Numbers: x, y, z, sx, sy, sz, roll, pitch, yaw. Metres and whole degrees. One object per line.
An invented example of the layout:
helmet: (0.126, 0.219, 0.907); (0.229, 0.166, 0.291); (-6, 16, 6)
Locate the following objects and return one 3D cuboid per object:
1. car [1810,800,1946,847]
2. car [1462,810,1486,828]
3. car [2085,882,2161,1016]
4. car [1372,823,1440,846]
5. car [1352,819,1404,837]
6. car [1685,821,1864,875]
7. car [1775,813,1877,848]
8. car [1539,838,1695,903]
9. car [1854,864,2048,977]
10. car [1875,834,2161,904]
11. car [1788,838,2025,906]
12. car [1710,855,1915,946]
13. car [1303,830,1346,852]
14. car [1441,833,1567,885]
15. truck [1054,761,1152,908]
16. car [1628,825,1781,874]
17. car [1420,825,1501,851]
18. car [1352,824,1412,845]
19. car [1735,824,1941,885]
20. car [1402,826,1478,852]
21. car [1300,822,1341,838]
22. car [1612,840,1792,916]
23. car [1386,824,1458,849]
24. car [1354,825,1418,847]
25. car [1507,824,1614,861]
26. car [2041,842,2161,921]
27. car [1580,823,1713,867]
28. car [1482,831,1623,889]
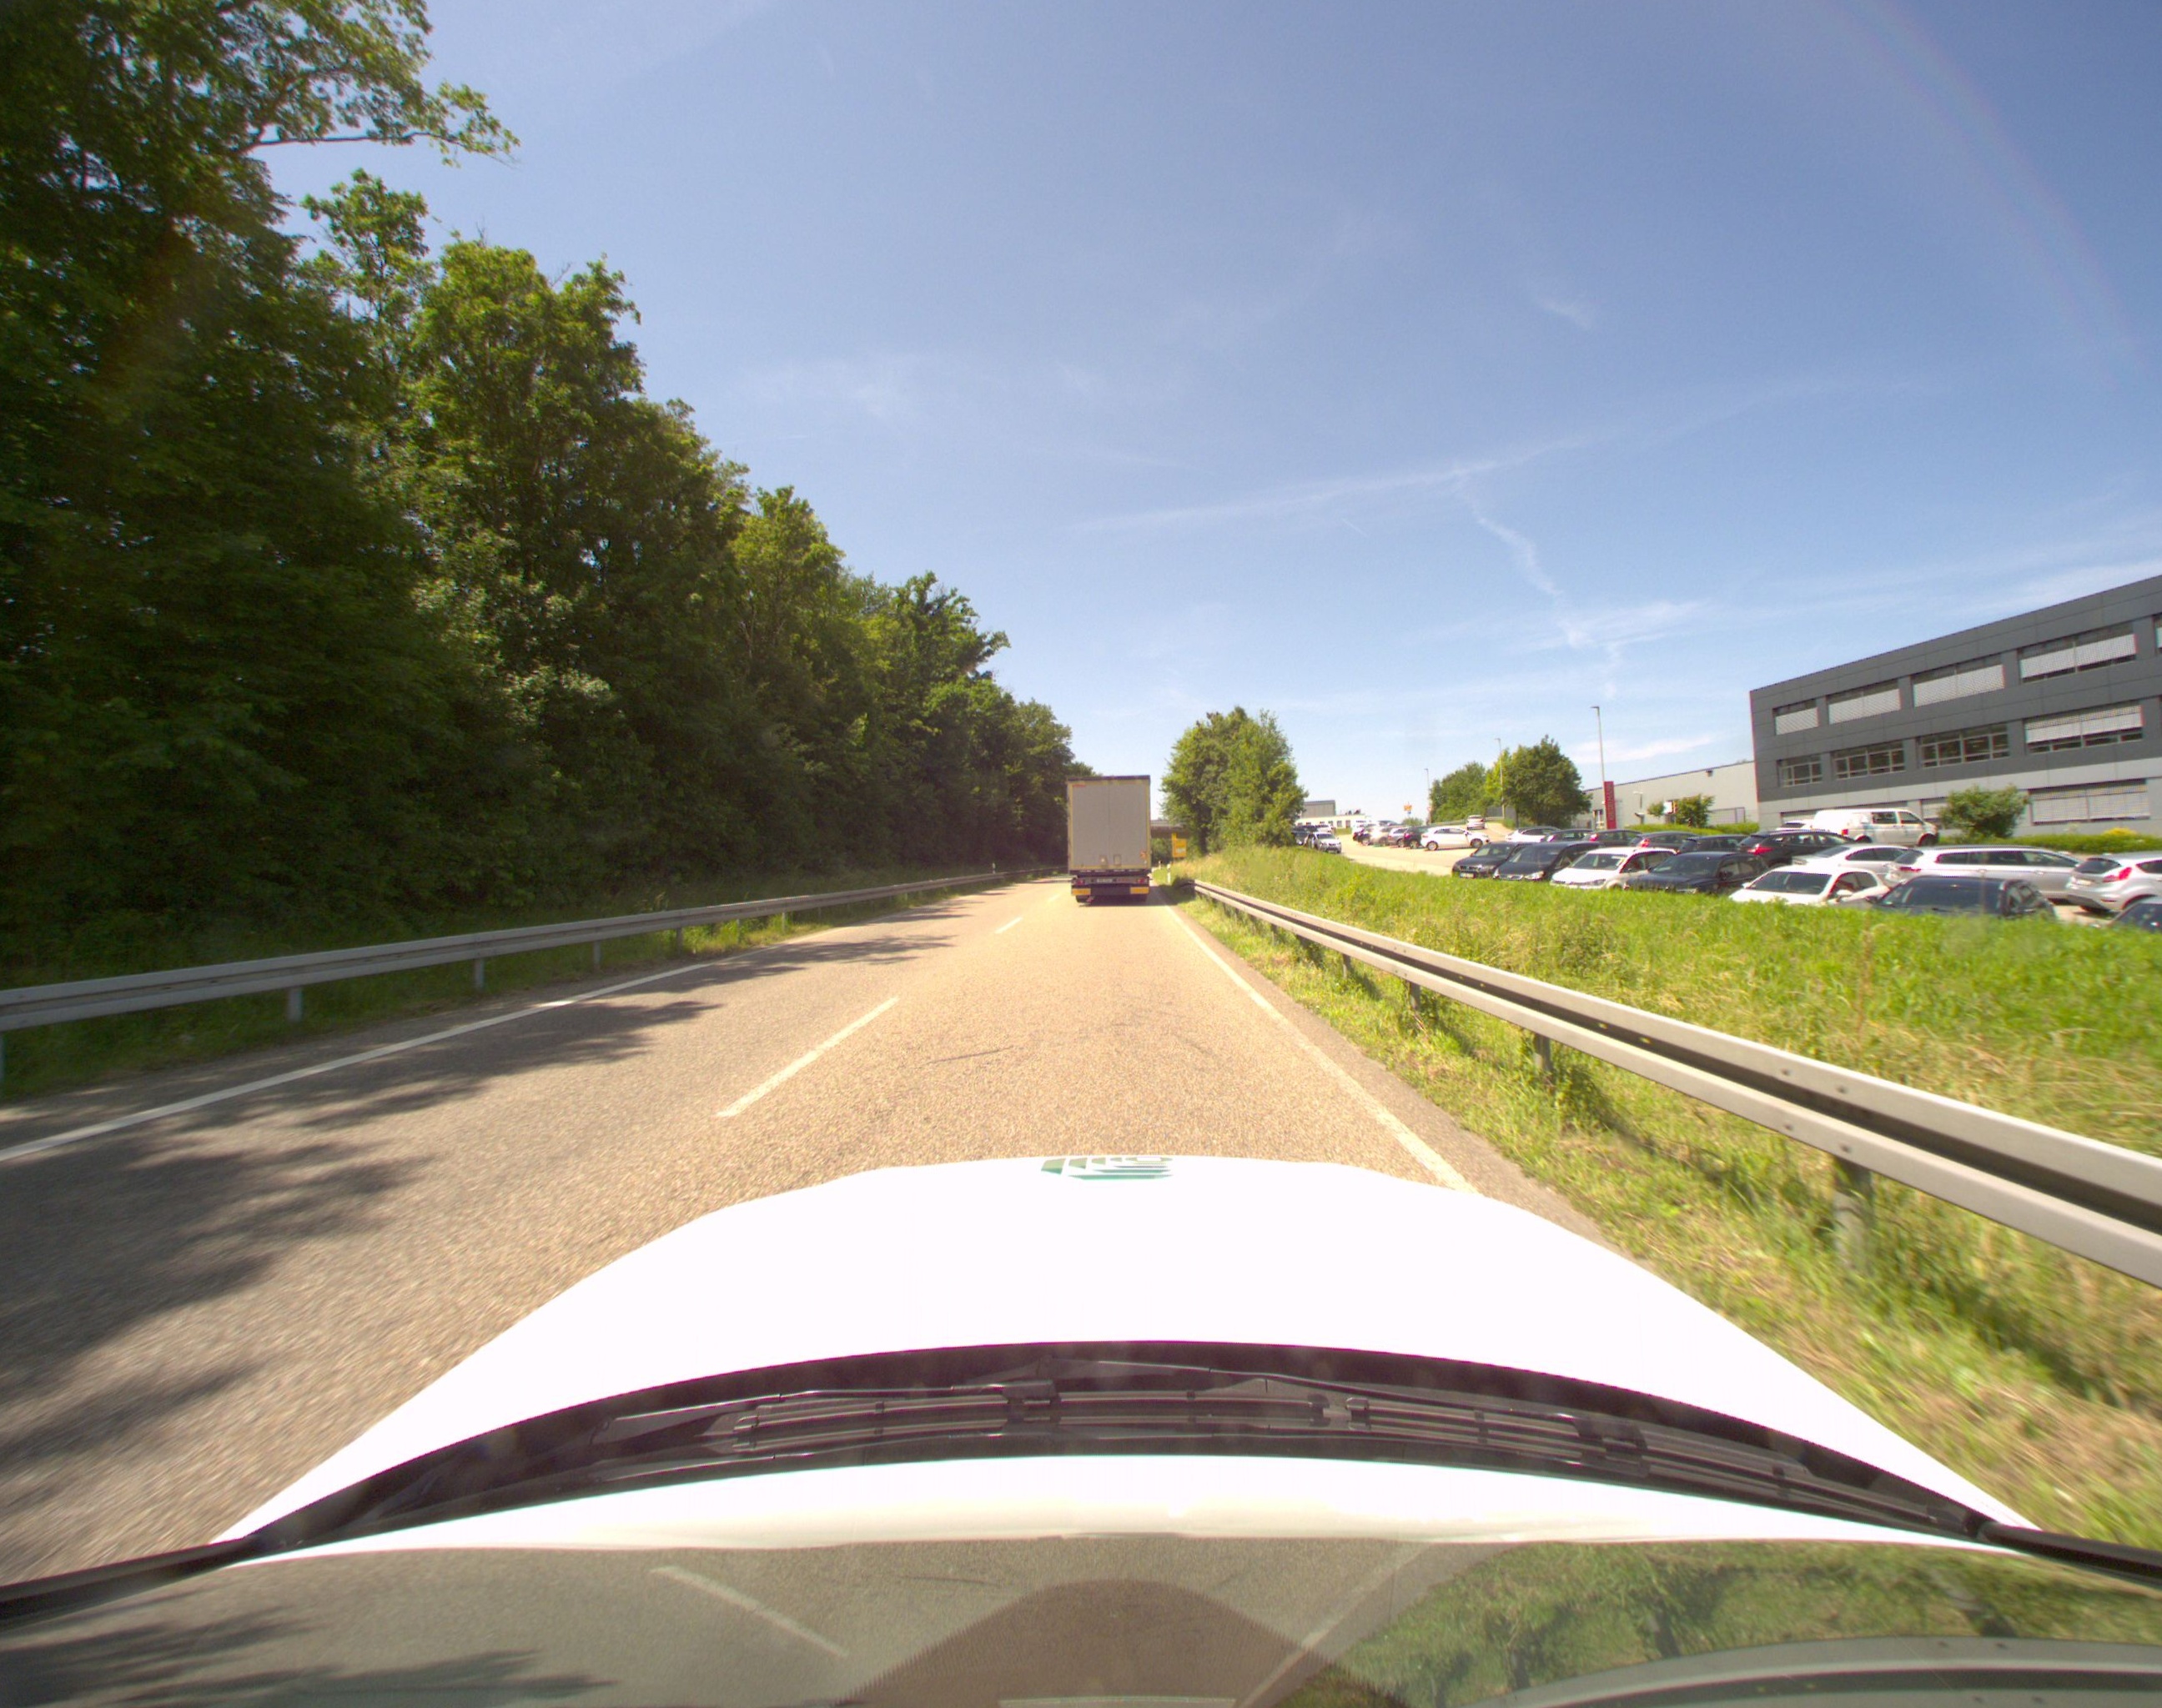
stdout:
car: (37.221, -1.418, 38.097); (4.555, 1.949, 1.821); (-2, 2, 1)
car: (39.301, -3.475, 81.418); (1.789, 1.662, 4.025); (0, 0, 32)
car: (16.094, 1.334, 11.670); (4.396, 1.685, 1.868); (1, 2, -36)
car: (23.981, -1.465, 60.172); (4.533, 1.628, 1.830); (1, 2, 21)
car: (29.235, -2.522, 80.259); (4.527, 1.629, 1.832); (0, 0, 35)
car: (24.766, -0.253, 29.318); (4.530, 1.628, 1.831); (4, 2, 27)
car: (37.717, -1.209, 41.282); (3.648, 1.588, 1.685); (-2, 2, 1)
car: (15.778, 0.490, 23.944); (4.387, 1.685, 1.872); (2, 2, -28)
car: (16.174, 1.108, 15.083); (4.396, 1.685, 1.868); (1, 2, -36)
car: (23.883, 0.356, 21.023); (4.527, 1.519, 1.833); (-1, 4, 31)
car: (24.215, 0.463, 24.161); (4.530, 1.628, 1.831); (4, 2, 27)
car: (16.022, 0.963, 17.809); (4.387, 1.685, 1.872); (2, 2, -28)
car: (16.615, -0.913, 55.685); (1.620, 1.353, 3.708); (3, 2, -3)
car: (15.415, 0.189, 29.653); (4.387, 1.685, 1.872); (2, 2, -28)
truck: (0.817, -0.587, 29.416); (2.855, 4.359, 9.792); (-2, 0, 2)
car: (24.683, -0.221, 32.478); (4.530, 1.628, 1.831); (4, 2, 27)
car: (23.827, -1.023, 51.350); (4.532, 1.628, 1.830); (1, 1, 21)
car: (24.537, -1.579, 66.459); (4.532, 1.629, 1.830); (0, 0, 21)
car: (24.443, -0.030, 26.543); (4.530, 1.628, 1.831); (4, 2, 27)
car: (23.802, -1.032, 54.120); (4.532, 1.628, 1.830); (1, 1, 21)
car: (27.418, -2.789, 93.249); (4.388, 1.685, 1.872); (-2, 4, -28)
car: (15.648, 0.590, 20.491); (4.387, 1.685, 1.872); (2, 2, -28)
car: (23.890, -1.216, 57.157); (4.532, 1.629, 1.830); (-1, 0, 21)
car: (23.715, -1.375, 63.353); (4.532, 1.629, 1.830); (-1, -1, 21)
car: (24.532, -0.593, 41.873); (4.530, 1.628, 1.831); (4, 2, 27)
car: (24.541, 0.529, 17.610); (4.529, 1.477, 1.832); (-4, 3, 26)
car: (24.691, -0.419, 35.807); (4.530, 1.628, 1.831); (4, 2, 27)
car: (15.383, 0.217, 26.570); (4.387, 1.685, 1.872); (2, 2, -28)
